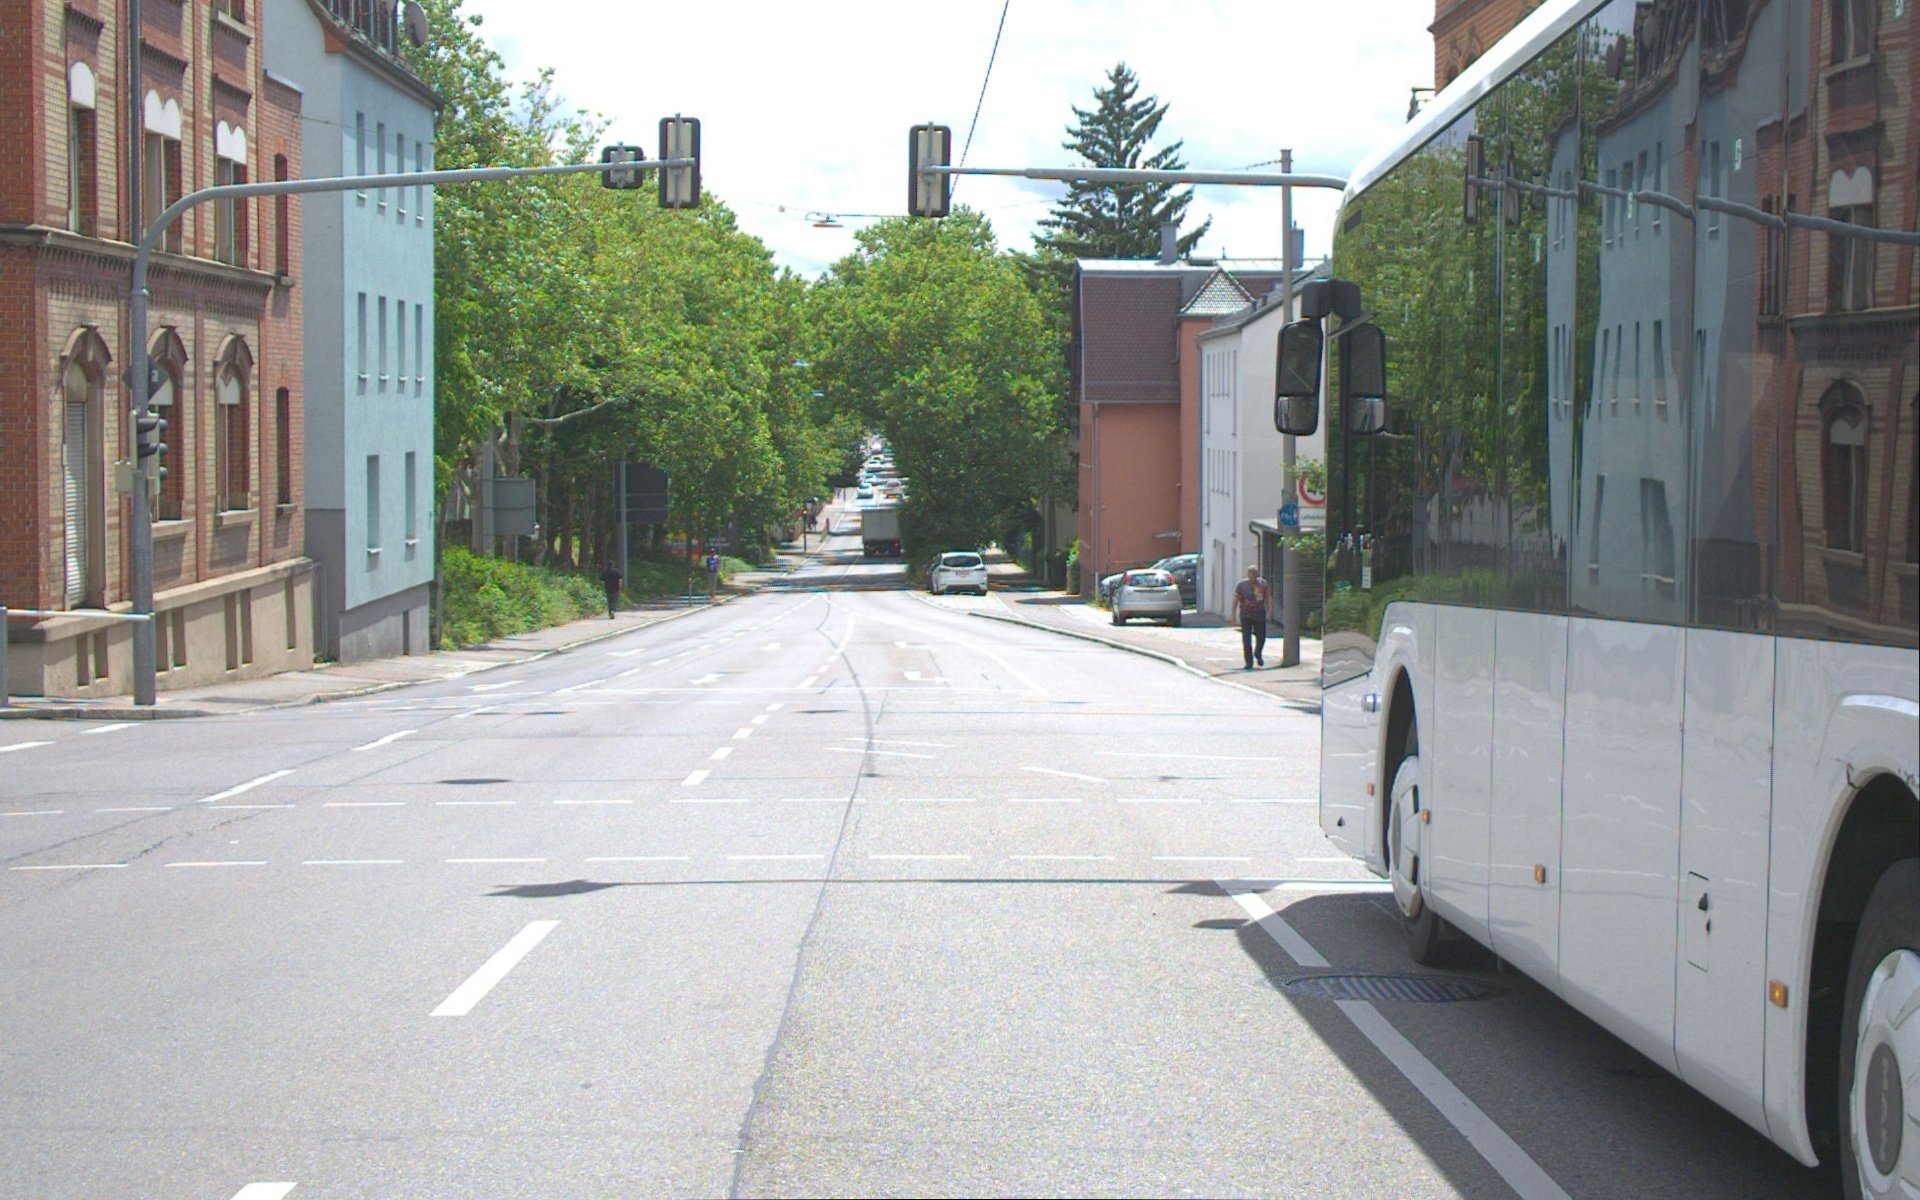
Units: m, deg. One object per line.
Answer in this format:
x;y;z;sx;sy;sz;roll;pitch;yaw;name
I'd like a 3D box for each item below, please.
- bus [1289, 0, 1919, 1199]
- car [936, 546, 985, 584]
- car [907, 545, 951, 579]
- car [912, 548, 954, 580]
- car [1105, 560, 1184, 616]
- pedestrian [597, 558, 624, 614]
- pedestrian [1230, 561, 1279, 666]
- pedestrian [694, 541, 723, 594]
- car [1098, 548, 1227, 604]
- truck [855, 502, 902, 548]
2.881;-0.223;9.285;2.672;3.145;12.462;-1;1;0;bus
0.023;-1.321;129.468;1.794;1.405;4.000;1;1;0;car
-1.290;-1.601;145.830;1.794;1.405;4.419;1;1;0;car
-1.190;-1.607;153.933;1.794;1.405;4.419;1;1;0;car
4.981;-0.343;93.071;1.794;1.405;4.001;-1;1;-2;car
-9.938;-0.401;97.836;0.729;1.560;0.561;0;1;-1;pedestrian
4.958;0.222;57.910;0.738;1.744;0.619;-1;1;-1;pedestrian
-9.537;-1.234;130.297;0.995;2.007;1.189;-1;1;-1;pedestrian
6.656;-0.794;113.170;3.986;1.751;2.000;-1;1;-5;car
-5.579;-5.106;233.863;2.926;3.070;7.886;-1;1;-3;truck
